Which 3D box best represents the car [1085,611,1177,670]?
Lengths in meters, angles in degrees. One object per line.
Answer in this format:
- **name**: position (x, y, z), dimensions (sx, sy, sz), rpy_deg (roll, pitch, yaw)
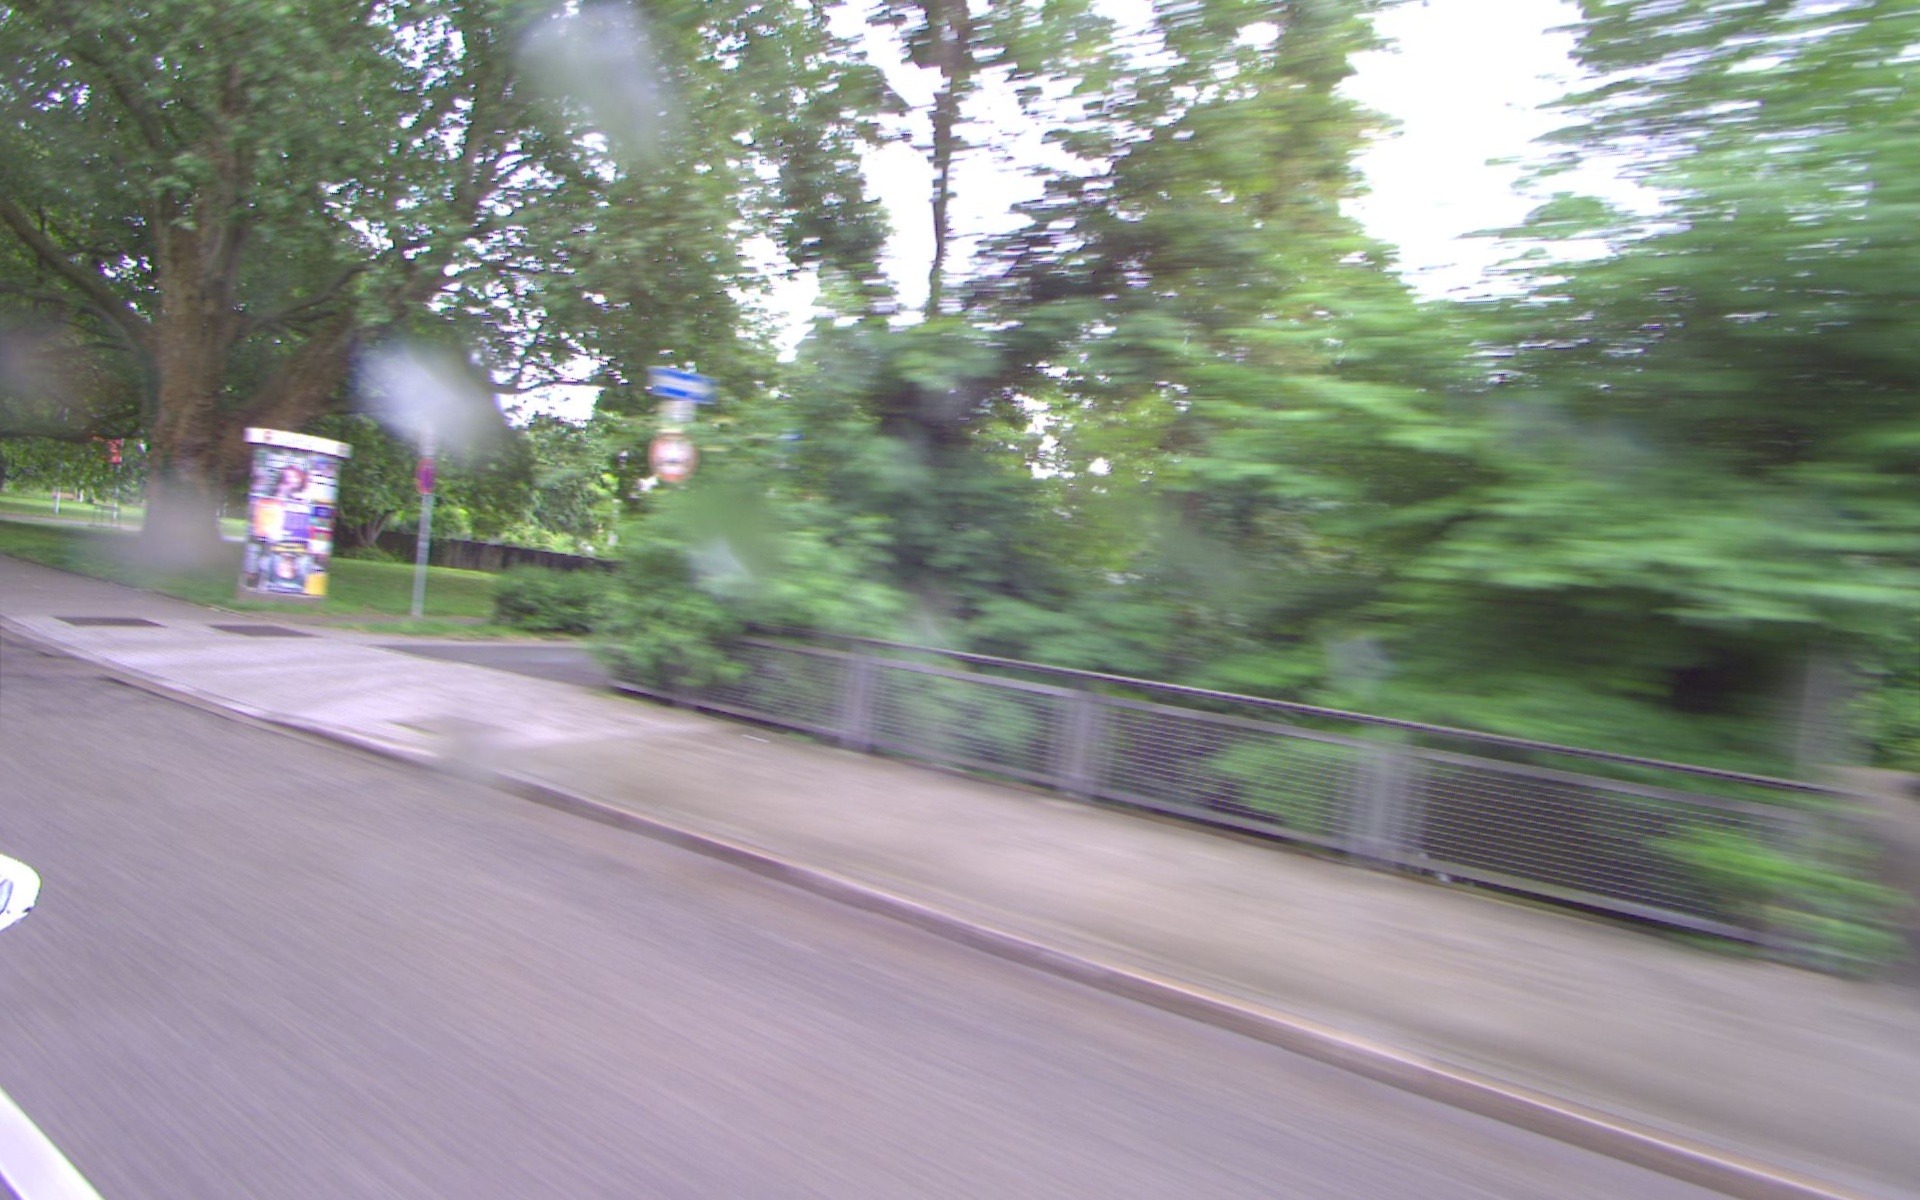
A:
- **car**: position (5.576, 1.321, 32.399), dimensions (1.705, 1.590, 3.928), rpy_deg (7, 1, 27)
